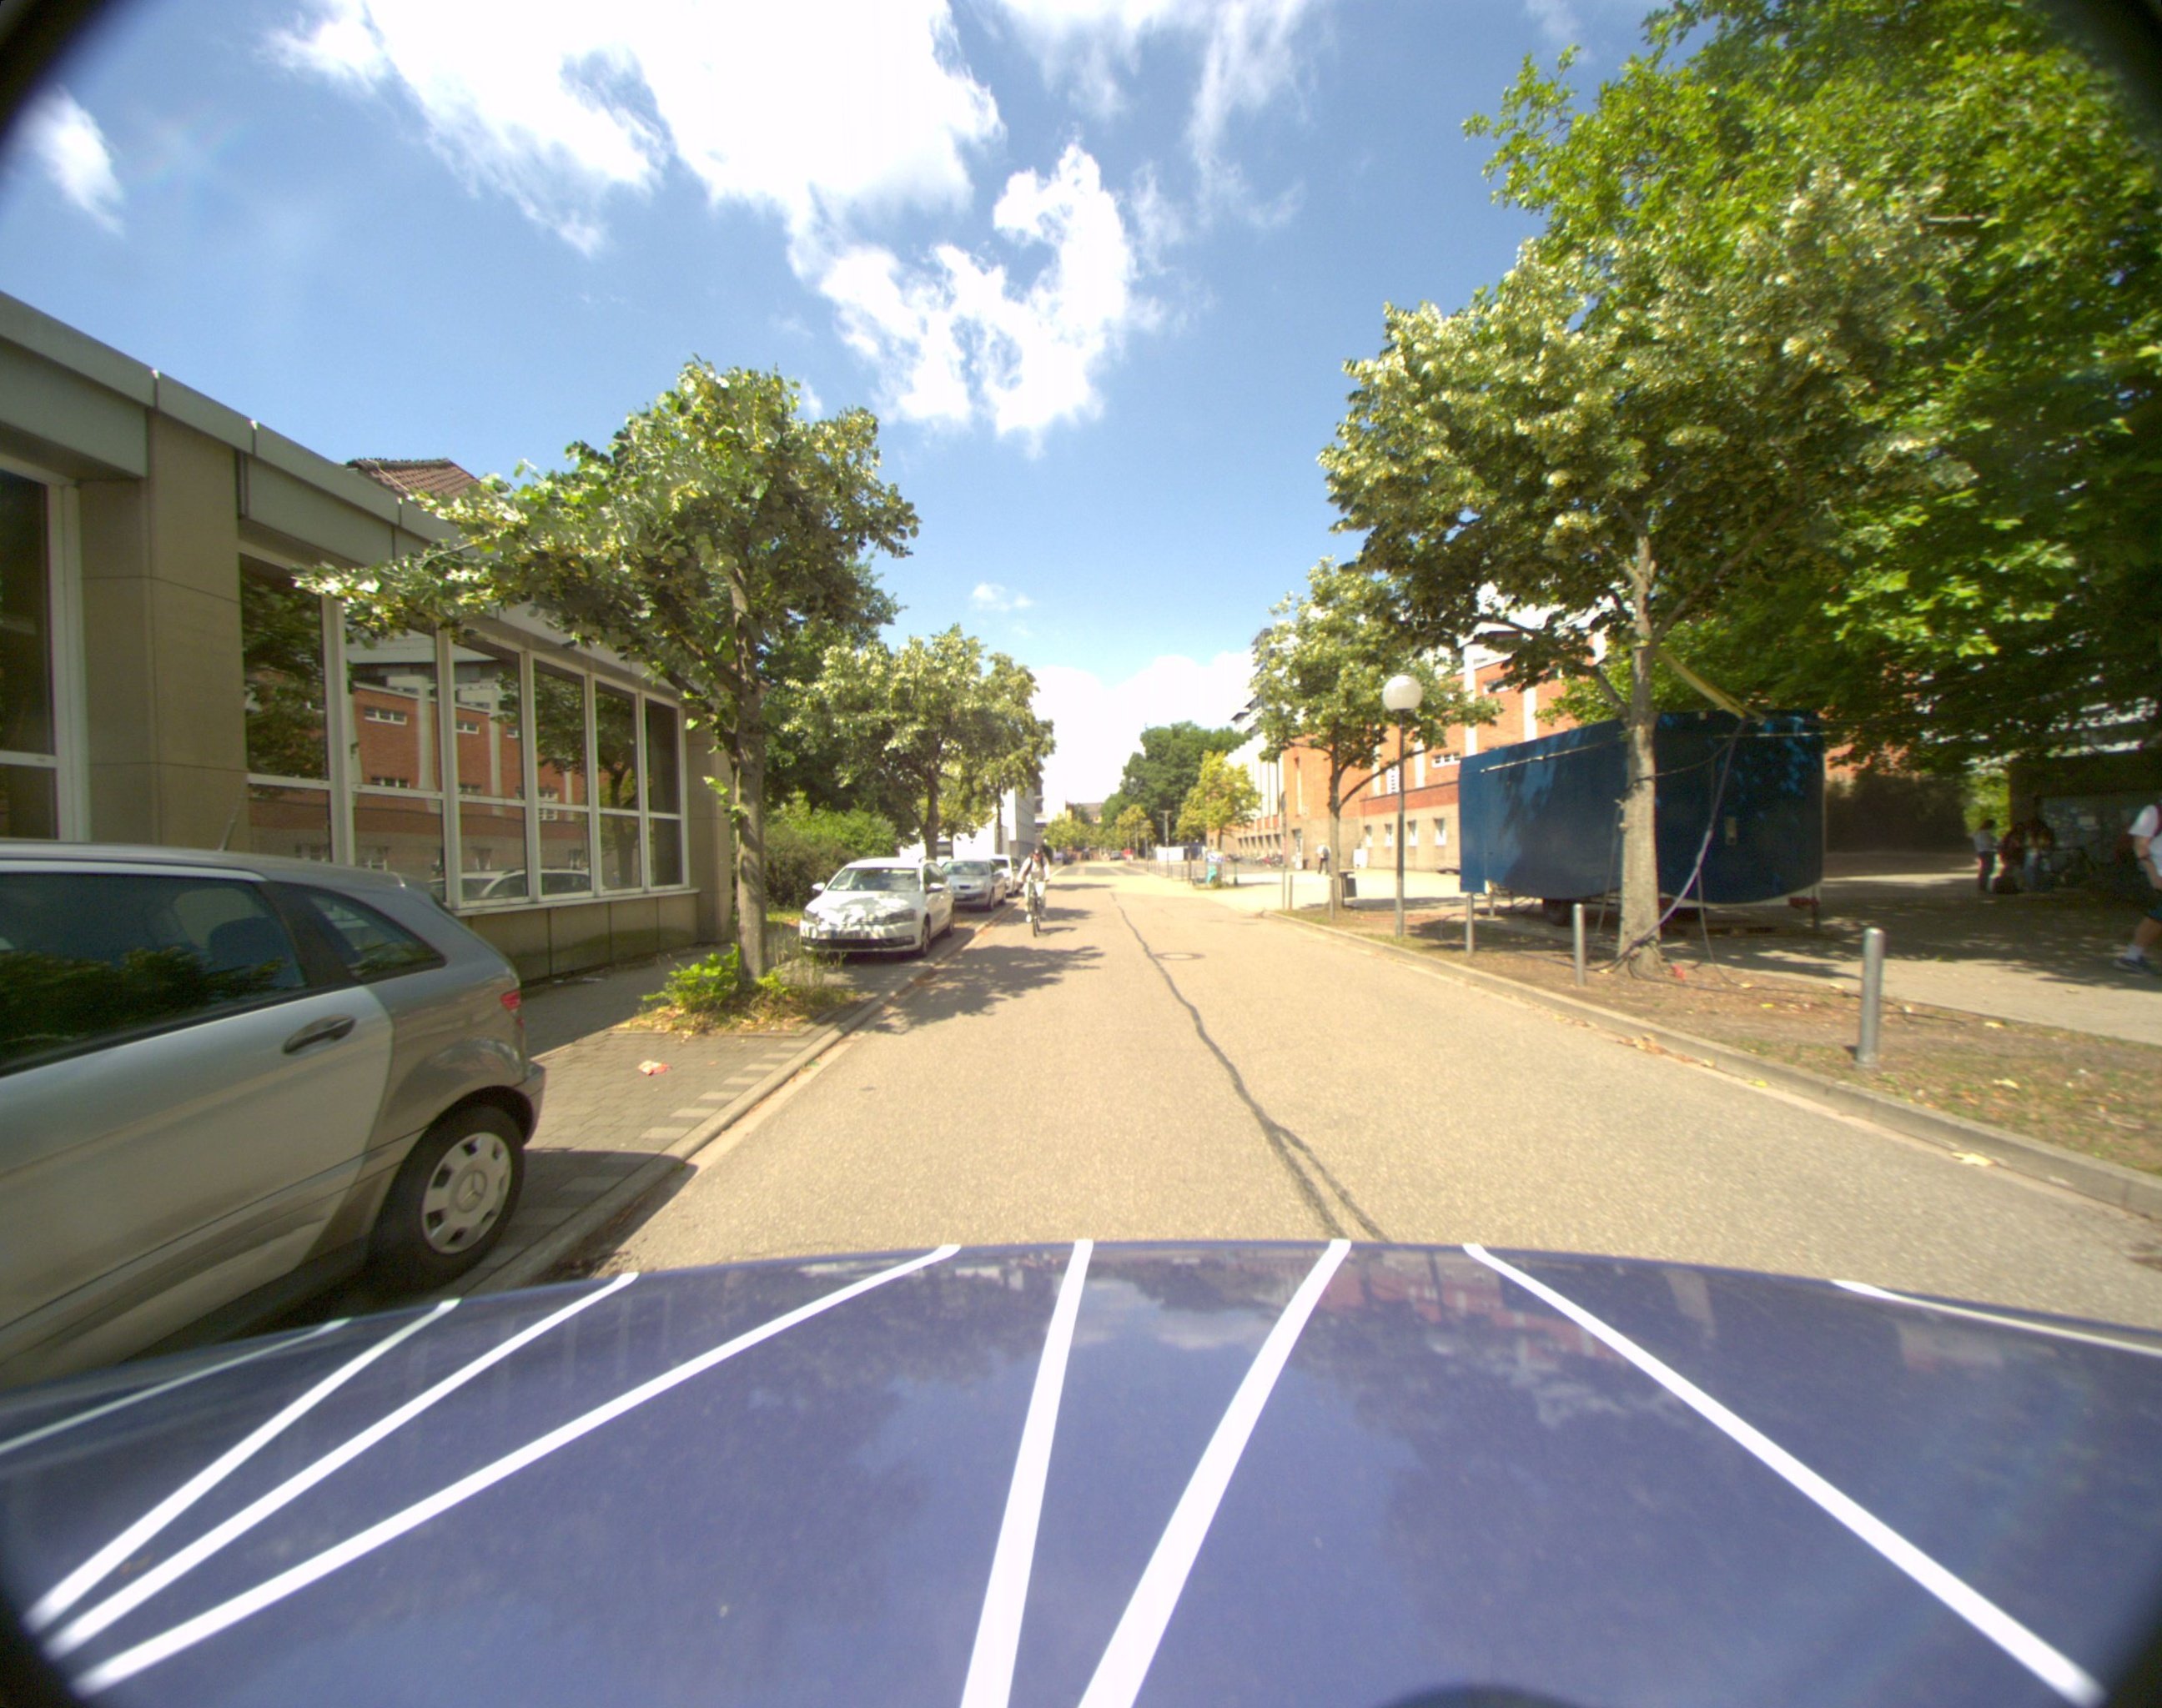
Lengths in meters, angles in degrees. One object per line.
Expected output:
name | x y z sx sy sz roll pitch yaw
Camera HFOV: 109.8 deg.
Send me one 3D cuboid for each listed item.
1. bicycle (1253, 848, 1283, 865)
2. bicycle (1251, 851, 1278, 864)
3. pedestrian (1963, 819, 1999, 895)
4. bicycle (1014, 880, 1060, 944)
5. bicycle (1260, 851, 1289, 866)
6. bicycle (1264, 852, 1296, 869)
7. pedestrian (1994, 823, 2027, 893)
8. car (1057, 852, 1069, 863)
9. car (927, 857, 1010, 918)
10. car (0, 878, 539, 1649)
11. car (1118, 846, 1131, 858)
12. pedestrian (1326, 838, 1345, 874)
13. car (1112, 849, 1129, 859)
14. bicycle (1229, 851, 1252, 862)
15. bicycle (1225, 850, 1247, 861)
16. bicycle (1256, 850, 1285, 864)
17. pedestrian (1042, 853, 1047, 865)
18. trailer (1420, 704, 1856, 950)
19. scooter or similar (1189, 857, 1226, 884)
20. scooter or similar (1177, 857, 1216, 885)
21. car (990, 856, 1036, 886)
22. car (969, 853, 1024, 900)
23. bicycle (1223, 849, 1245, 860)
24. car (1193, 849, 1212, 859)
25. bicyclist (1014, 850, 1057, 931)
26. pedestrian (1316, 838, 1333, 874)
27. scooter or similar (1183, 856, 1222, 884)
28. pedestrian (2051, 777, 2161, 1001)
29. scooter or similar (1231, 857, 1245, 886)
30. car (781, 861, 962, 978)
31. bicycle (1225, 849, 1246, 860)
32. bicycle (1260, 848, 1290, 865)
bicycle | 13.668 0.200 55.631 2.026 1.119 0.439 -3 1 4
bicycle | 14.648 0.254 60.794 1.955 0.955 0.684 -2 1 -1
pedestrian | 20.556 0.057 17.354 0.531 1.701 0.447 -4 1 -44
bicycle | -0.827 1.086 14.847 0.675 1.066 2.136 -1 1 2
bicycle | 14.589 0.304 57.234 2.015 1.076 0.621 -2 1 -1
bicycle | 13.904 0.434 53.127 2.027 1.119 0.667 -2 1 -1
pedestrian | 21.258 0.088 17.388 0.607 1.584 0.411 -4 1 -41
car | -2.333 0.419 100.562 1.552 1.377 3.453 -2 0 -1
car | -2.967 0.831 20.814 1.650 1.382 3.988 -1 1 0
car | -3.134 0.905 1.136 1.708 1.565 4.139 0 1 -1
car | 7.443 -0.359 129.793 1.912 1.870 4.002 -2 0 7
pedestrian | 12.720 0.080 37.957 0.577 1.769 0.917 -2 1 0
car | 8.126 -0.034 155.945 2.022 2.080 4.439 -2 0 21
bicycle | 14.700 0.201 69.886 1.955 0.935 0.569 -2 1 -1
bicycle | 14.607 0.141 71.542 1.955 1.024 0.530 -2 1 -1
bicycle | 14.724 0.245 59.037 2.027 1.055 0.663 -2 1 -1
pedestrian | -4.235 0.608 88.616 0.525 1.430 0.701 -1 1 3
trailer | 8.492 -0.368 12.798 2.703 3.009 6.265 -3 1 0
scooter or similar | 5.834 0.748 34.999 1.571 1.218 0.571 -1 1 27
scooter or similar | 5.106 0.751 33.633 1.571 1.218 0.525 -1 1 27
car | -3.236 0.774 36.656 1.712 1.273 4.000 -2 0 2
car | -2.947 0.749 27.082 1.591 1.458 3.987 -1 1 -2
bicycle | 15.019 0.010 74.654 1.955 1.024 0.542 -2 1 -1
car | 15.673 -0.007 97.953 2.288 1.173 0.524 -2 1 2
bicyclist | -0.860 0.679 14.680 0.675 1.470 1.062 -1 2 2
pedestrian | 12.131 0.097 37.891 0.564 1.752 0.805 -2 1 0
scooter or similar | 5.472 0.733 34.210 1.571 1.218 0.566 -1 1 27
pedestrian | 9.158 0.269 6.357 0.801 1.820 0.986 -2 1 1
scooter or similar | 6.710 0.731 32.452 0.564 1.142 1.351 -1 1 12
car | -3.129 0.887 12.379 1.730 1.458 4.671 -1 0 -1
bicycle | 14.998 0.019 73.773 1.955 1.024 0.518 -2 1 -1
bicycle | 14.036 0.184 54.966 2.026 1.119 0.592 -2 1 1
